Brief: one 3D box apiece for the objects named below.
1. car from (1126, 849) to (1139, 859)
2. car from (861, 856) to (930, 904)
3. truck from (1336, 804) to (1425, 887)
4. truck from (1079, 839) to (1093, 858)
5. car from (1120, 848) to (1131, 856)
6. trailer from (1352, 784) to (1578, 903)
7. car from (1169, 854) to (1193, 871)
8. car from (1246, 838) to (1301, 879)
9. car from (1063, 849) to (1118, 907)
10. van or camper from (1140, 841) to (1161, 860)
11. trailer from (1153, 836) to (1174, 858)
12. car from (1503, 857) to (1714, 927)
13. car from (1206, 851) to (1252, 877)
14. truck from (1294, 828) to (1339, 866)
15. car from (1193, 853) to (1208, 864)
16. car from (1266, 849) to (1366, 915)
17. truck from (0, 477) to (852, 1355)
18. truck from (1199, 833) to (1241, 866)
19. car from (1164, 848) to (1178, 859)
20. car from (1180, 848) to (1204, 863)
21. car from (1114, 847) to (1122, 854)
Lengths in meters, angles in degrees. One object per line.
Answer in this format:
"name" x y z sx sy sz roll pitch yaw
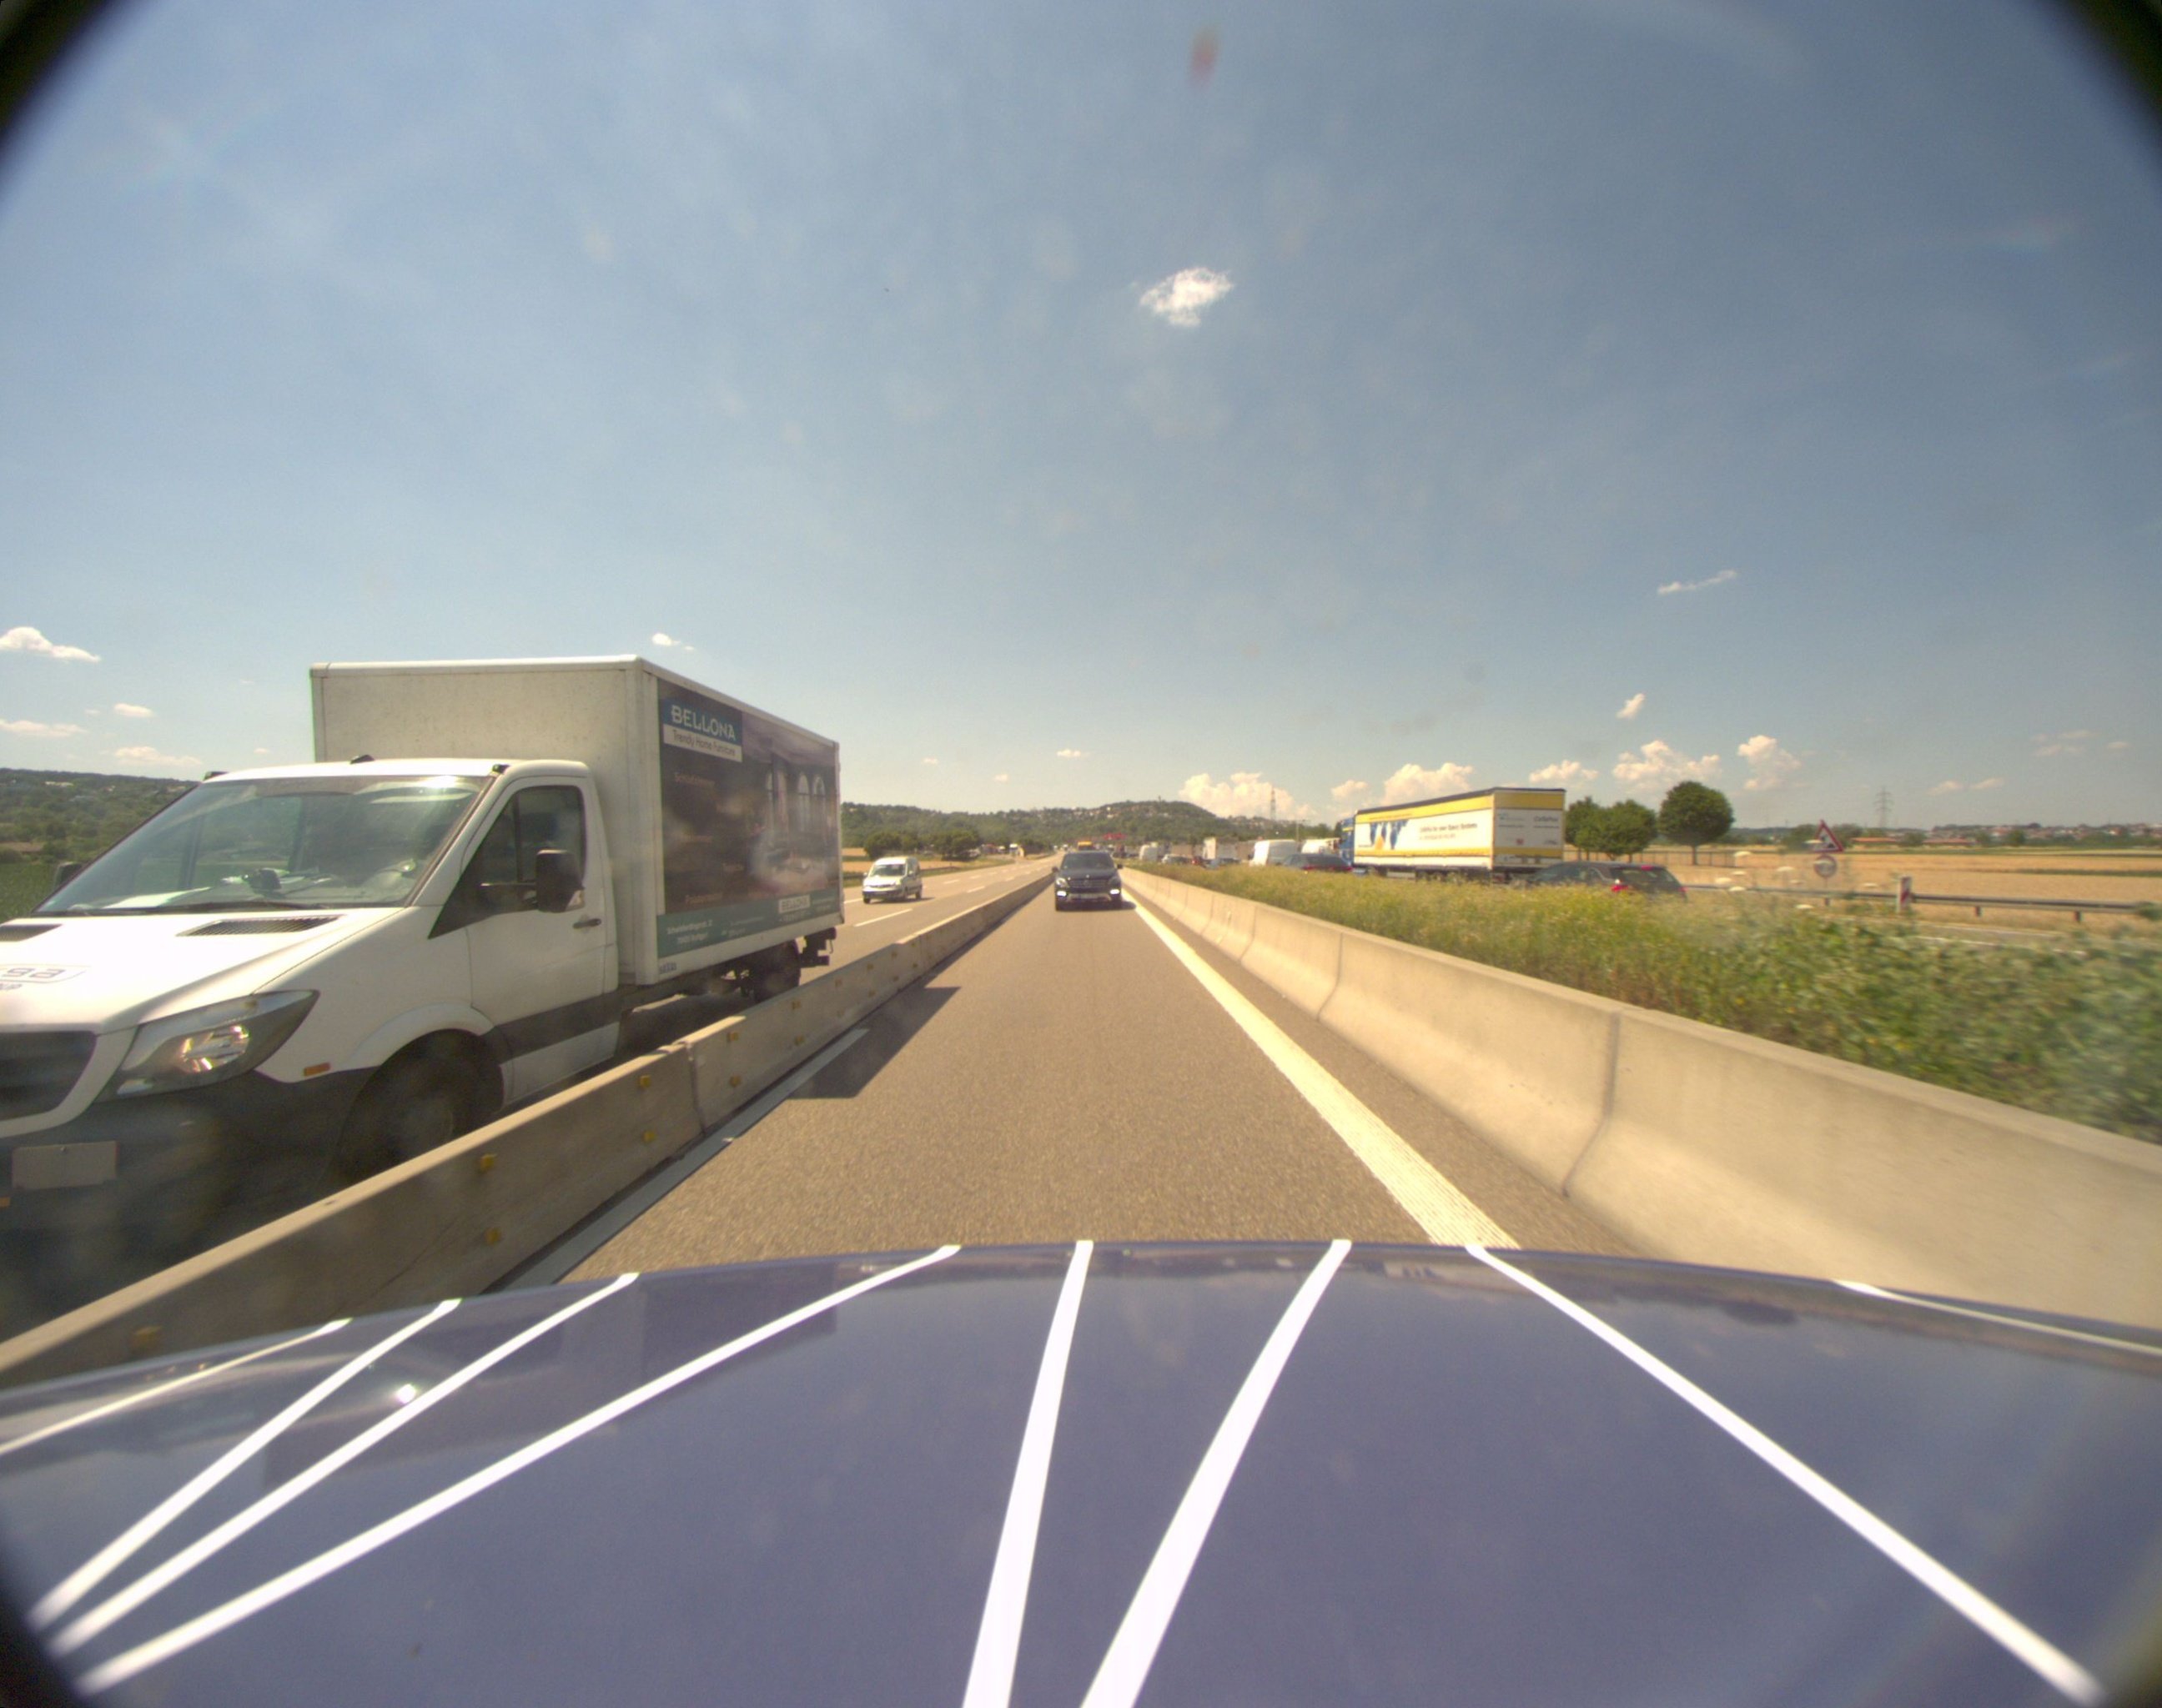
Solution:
"car" 8.721 0.015 128.812 1.786 1.580 4.541 -1 0 1
"car" -7.325 0.974 30.317 1.630 1.726 3.973 -2 0 1
"truck" 15.771 -0.429 40.342 2.817 4.104 4.841 0 0 0
"truck" 0.846 -0.935 131.111 2.272 3.139 8.185 -2 1 1
"car" 9.216 -0.345 157.562 1.848 1.560 5.344 -1 0 1
"trailer" 15.741 -0.372 33.241 2.817 4.104 14.129 0 0 0
"car" 8.986 0.709 68.571 1.601 1.460 4.533 0 0 0
"car" 12.144 0.257 48.413 2.052 2.486 5.812 0 0 0
"car" 0.321 0.756 25.134 1.630 1.711 3.865 -2 0 1
"van or camper" 8.965 -0.448 98.372 2.041 2.208 7.207 -2 0 0
"trailer" 17.064 -1.461 157.516 2.900 4.350 12.992 1 0 1
"car" 11.754 0.767 17.384 1.752 1.259 4.433 -2 1 0
"car" 8.768 0.538 45.403 1.783 1.327 4.928 -2 1 0
"truck" 25.655 -0.735 83.385 2.904 3.755 13.299 2 0 10
"car" 16.660 0.649 106.080 1.566 1.507 3.937 -1 0 1
"car" 7.790 0.856 25.668 1.998 2.002 4.685 -1 0 1
"truck" -4.083 0.266 6.043 2.326 3.049 6.751 -2 0 1
"truck" 16.483 -0.497 91.300 2.801 3.588 13.288 2 0 1
"car" 12.995 -0.044 109.656 1.563 1.613 4.044 0 0 -1
"car" 12.830 0.195 88.388 1.891 1.700 5.521 1 0 -1
"car" 10.071 -0.955 206.349 1.895 1.608 4.820 -1 1 0
